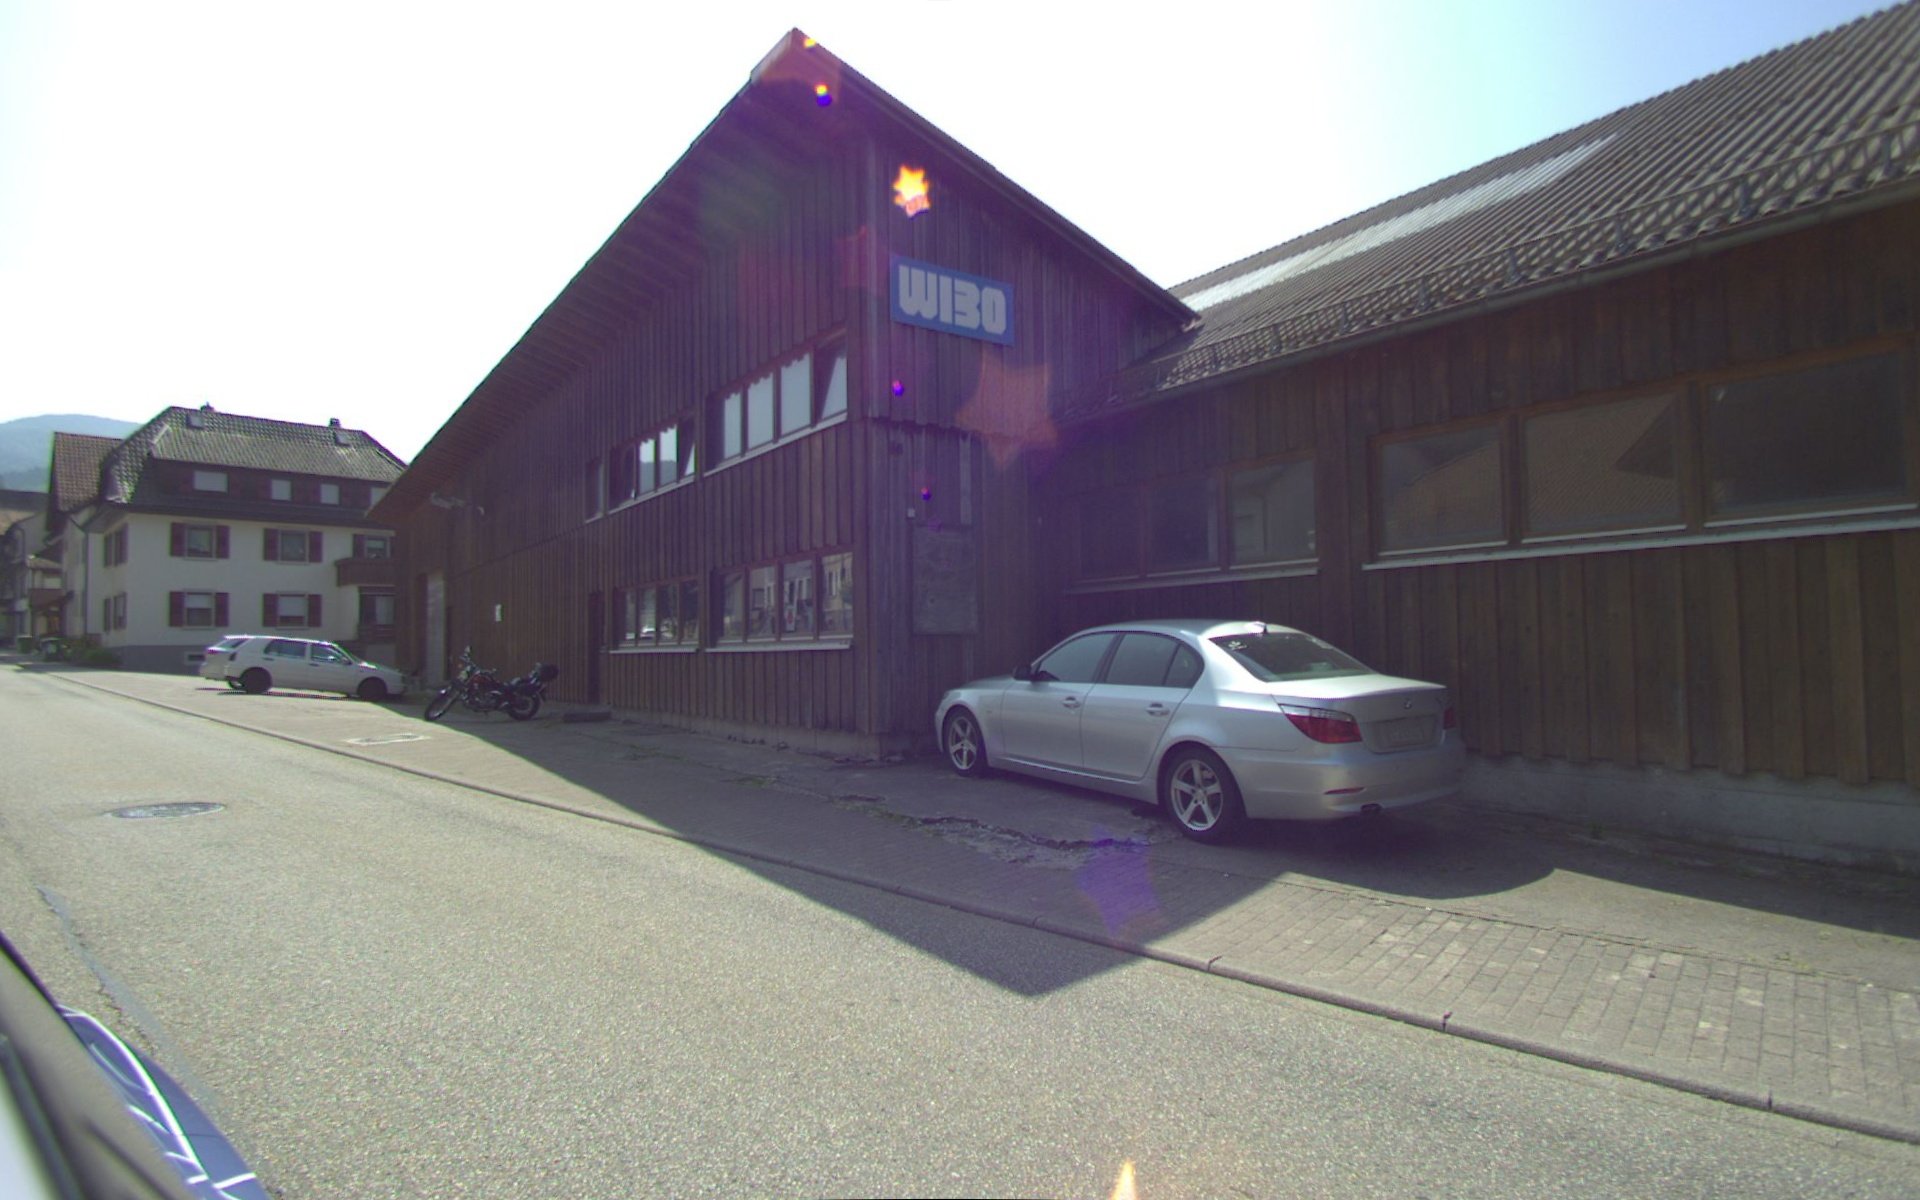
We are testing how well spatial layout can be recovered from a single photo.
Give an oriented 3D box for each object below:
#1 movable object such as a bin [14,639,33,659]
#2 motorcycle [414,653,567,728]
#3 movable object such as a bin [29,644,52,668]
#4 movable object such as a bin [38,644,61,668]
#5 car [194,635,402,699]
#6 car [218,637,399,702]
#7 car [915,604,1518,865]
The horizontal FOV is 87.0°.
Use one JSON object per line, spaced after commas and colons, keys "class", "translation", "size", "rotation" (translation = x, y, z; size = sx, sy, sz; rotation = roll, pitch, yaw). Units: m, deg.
{"class": "movable object such as a bin", "translation": [-55.669, 2.901, 60.159], "size": [0.598, 1.190, 0.710], "rotation": [-2, -5, 44]}
{"class": "motorcycle", "translation": [-8.475, 1.601, 18.344], "size": [2.377, 1.274, 0.745], "rotation": [2, -3, -37]}
{"class": "movable object such as a bin", "translation": [-42.120, 2.571, 46.348], "size": [0.653, 1.075, 0.668], "rotation": [-2, -3, 41]}
{"class": "movable object such as a bin", "translation": [-41.089, 2.521, 45.672], "size": [0.621, 1.075, 0.668], "rotation": [-2, -3, 41]}
{"class": "car", "translation": [-17.975, 1.843, 27.760], "size": [4.367, 1.486, 1.930], "rotation": [4, -5, -21]}
{"class": "car", "translation": [-16.275, 1.764, 25.449], "size": [3.609, 1.396, 1.716], "rotation": [6, -5, -32]}
{"class": "car", "translation": [1.603, 0.866, 8.186], "size": [1.705, 1.465, 4.817], "rotation": [1, -3, -33]}
